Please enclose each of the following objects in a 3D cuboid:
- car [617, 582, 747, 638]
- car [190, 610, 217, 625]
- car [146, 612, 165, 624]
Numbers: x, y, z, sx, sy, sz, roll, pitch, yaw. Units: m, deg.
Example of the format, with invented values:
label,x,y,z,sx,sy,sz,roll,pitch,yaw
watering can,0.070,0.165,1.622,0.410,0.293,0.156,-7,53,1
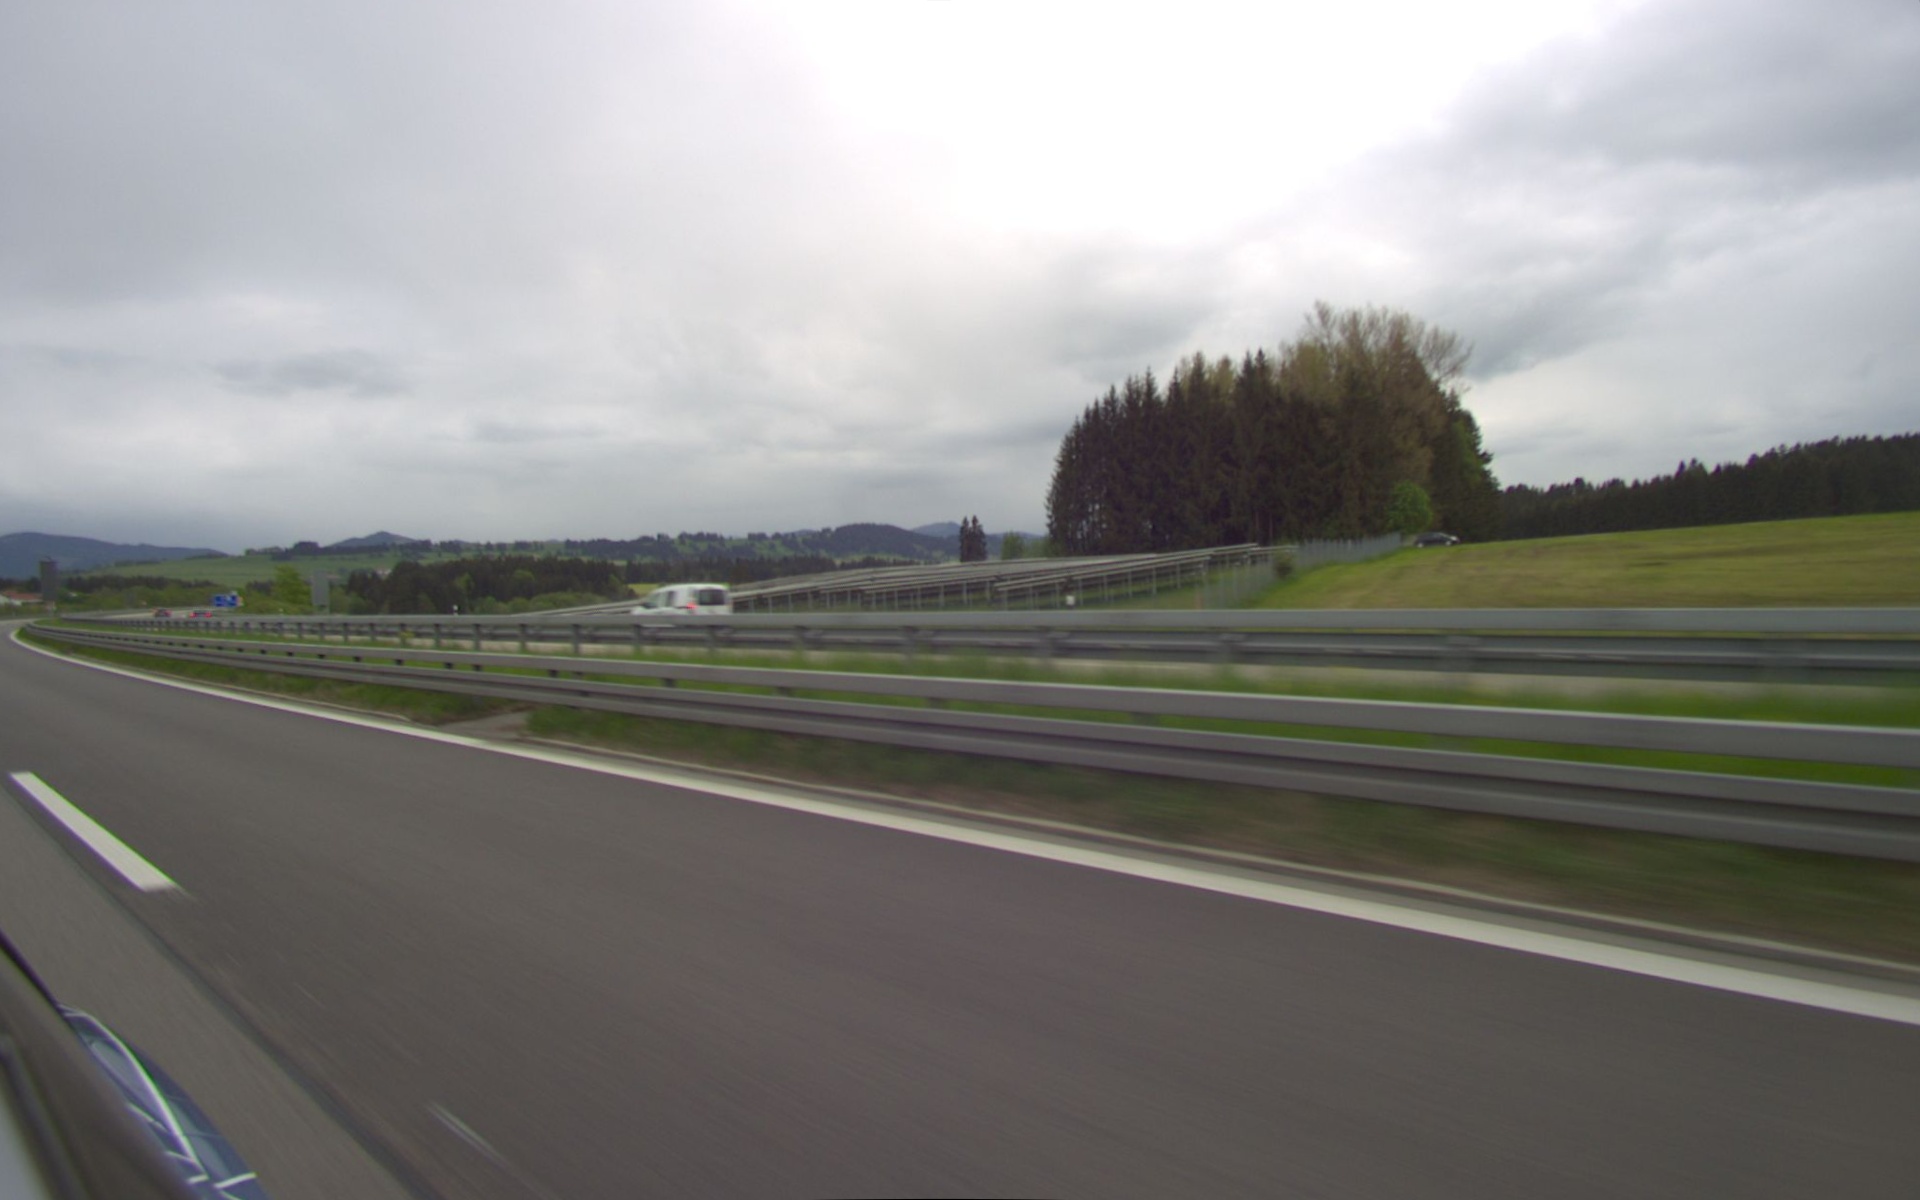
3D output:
label,x,y,z,sx,sy,sz,roll,pitch,yaw
car,-9.443,0.361,34.194,4.625,1.698,1.973,-2,2,42
car,-82.887,1.926,110.852,1.969,1.450,5.007,-5,2,-40
car,-108.806,2.400,136.872,1.968,1.428,4.008,-4,2,-39
